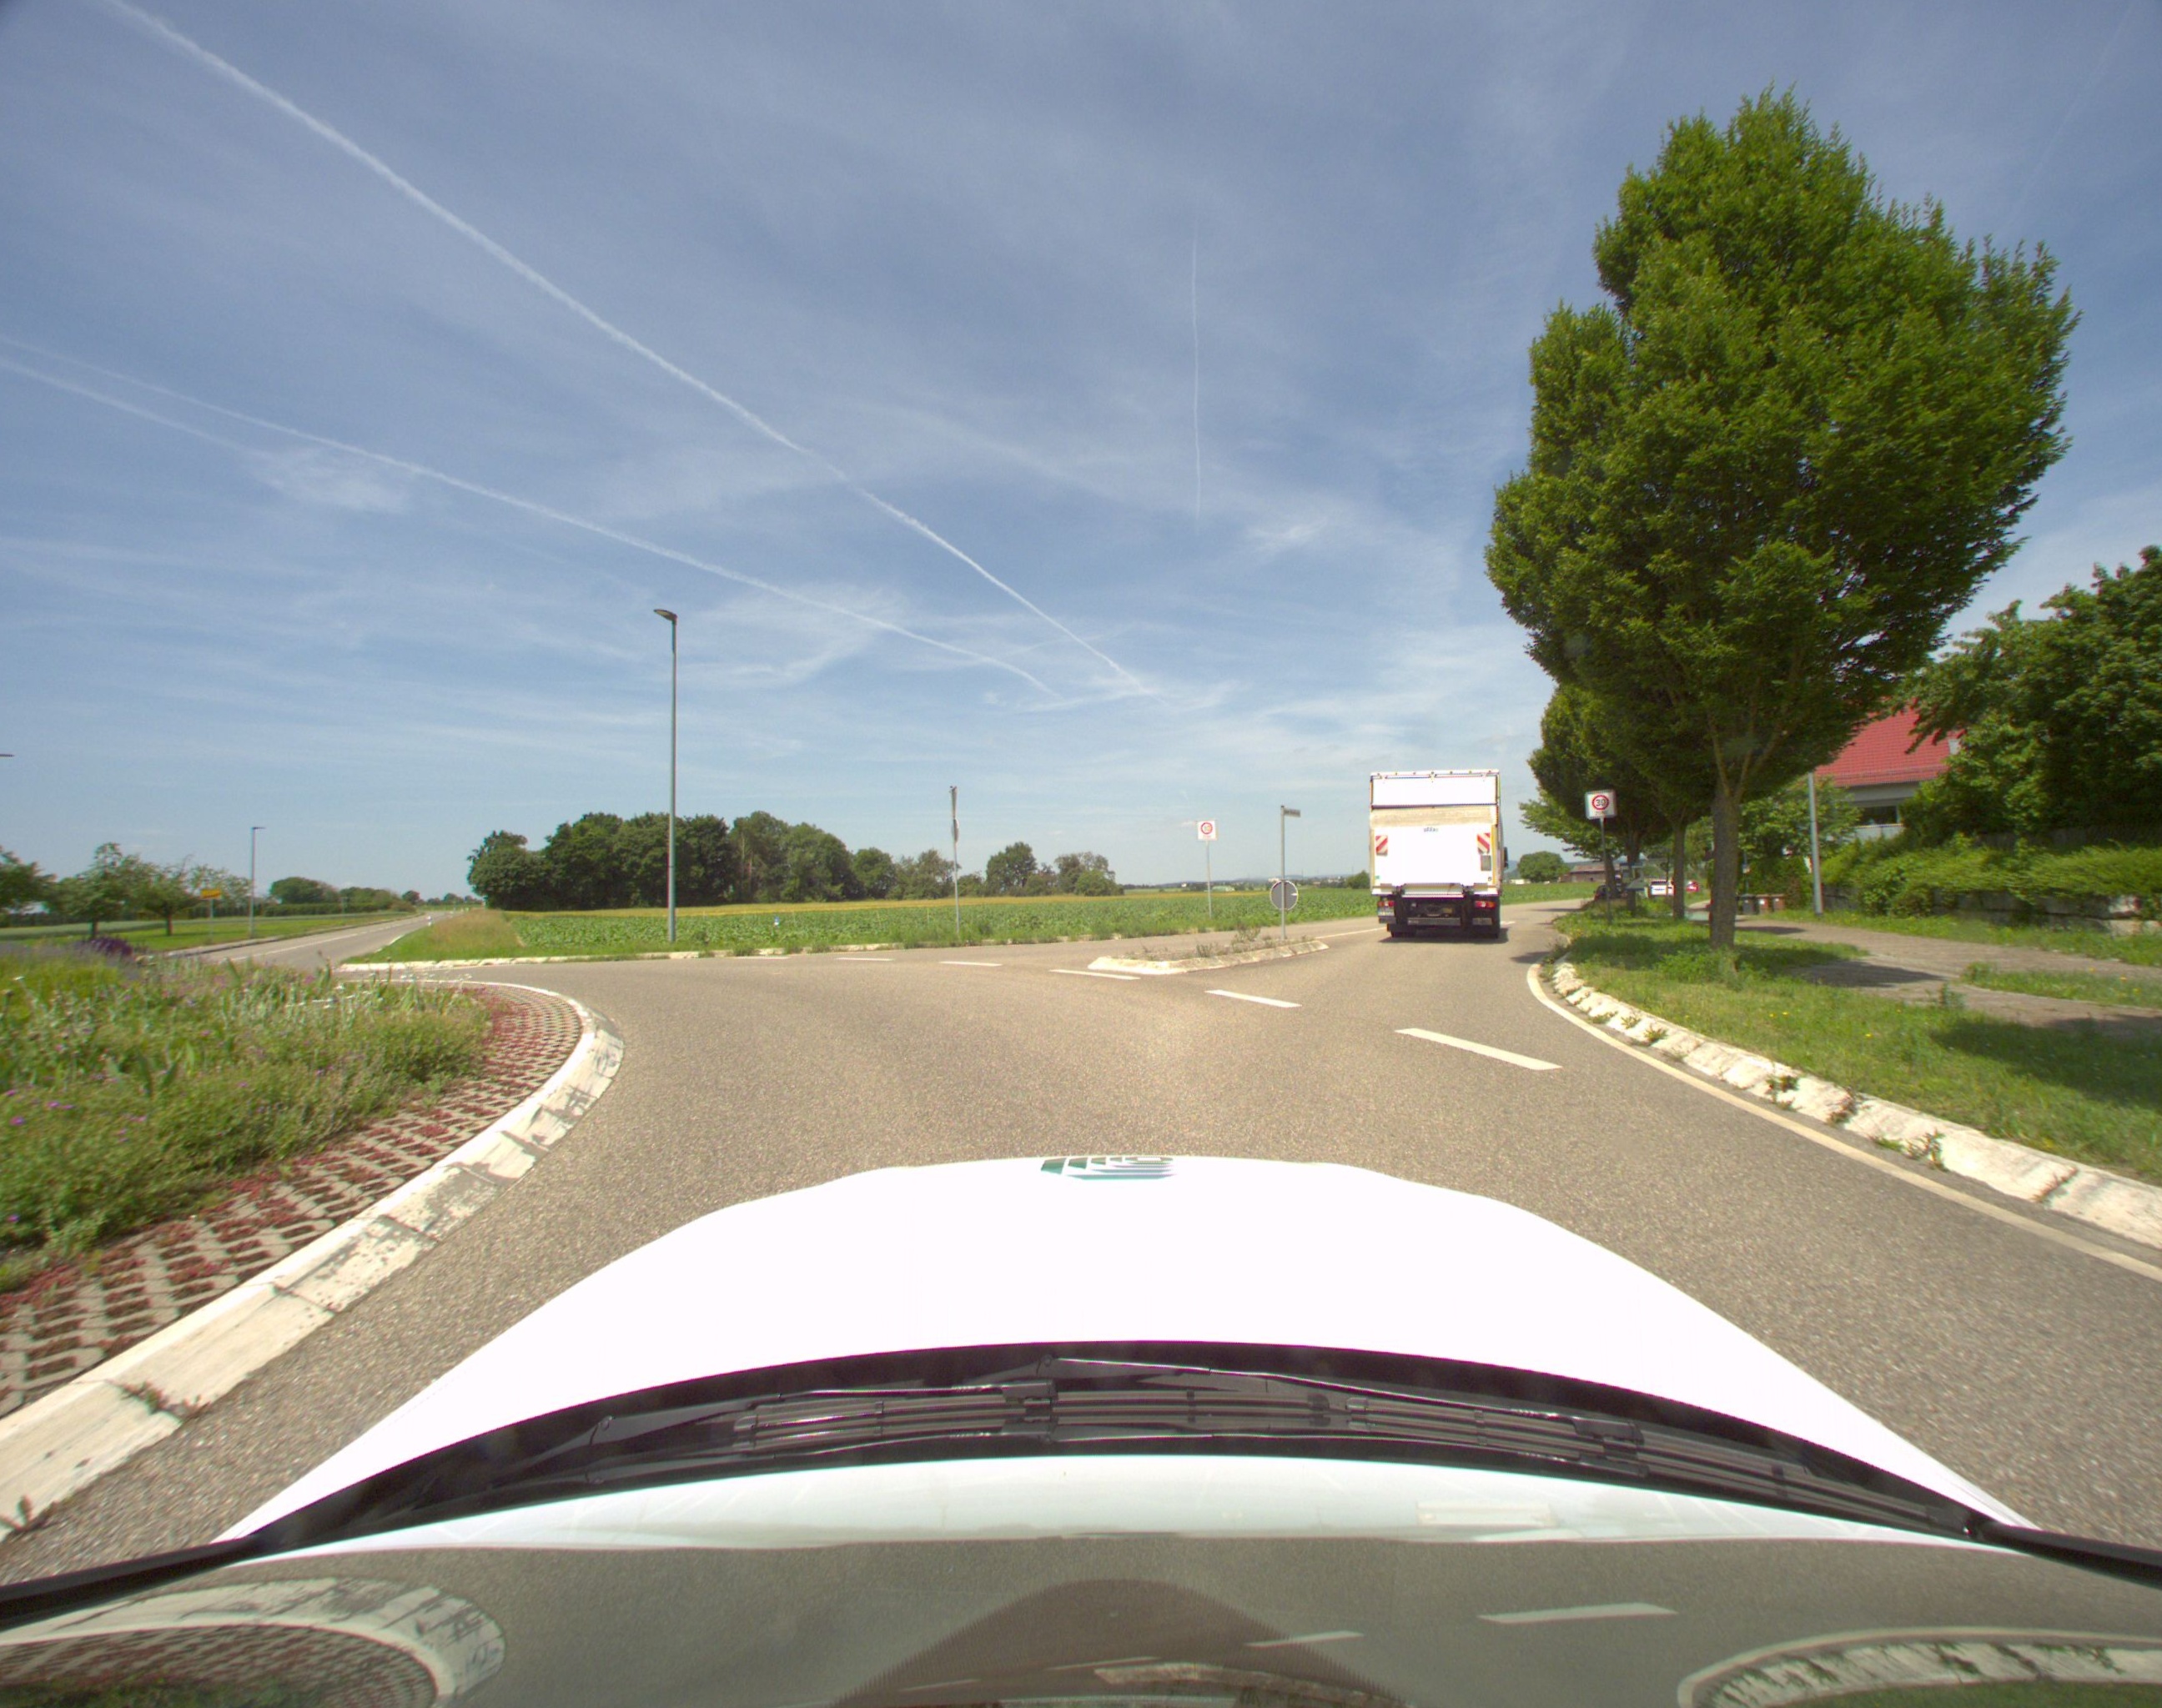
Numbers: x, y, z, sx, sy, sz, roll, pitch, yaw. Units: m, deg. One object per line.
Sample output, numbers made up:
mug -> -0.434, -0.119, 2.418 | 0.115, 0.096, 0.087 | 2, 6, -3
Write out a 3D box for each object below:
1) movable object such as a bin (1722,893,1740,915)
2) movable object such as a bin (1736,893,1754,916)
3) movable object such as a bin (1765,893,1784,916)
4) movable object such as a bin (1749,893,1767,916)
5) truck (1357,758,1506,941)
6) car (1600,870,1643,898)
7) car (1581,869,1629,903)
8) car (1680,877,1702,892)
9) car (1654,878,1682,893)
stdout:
movable object such as a bin -> 28.860, 2.230, 36.164 | 0.501, 0.966, 0.437 | 0, -3, -32
movable object such as a bin -> 29.130, 2.205, 35.743 | 0.501, 0.966, 0.437 | 0, -3, -32
movable object such as a bin -> 29.698, 2.151, 34.882 | 0.501, 0.966, 0.437 | 0, -3, -32
movable object such as a bin -> 29.389, 2.180, 35.335 | 0.501, 0.966, 0.437 | 0, -3, -32
truck -> 9.412, 0.060, 21.136 | 2.741, 3.671, 9.437 | -2, -2, 27
car -> 34.893, 1.953, 52.564 | 1.974, 1.717, 4.025 | -4, -4, 37
car -> 30.456, 1.849, 47.303 | 1.974, 1.794, 4.025 | -5, -5, 36
car -> 55.685, 2.777, 74.311 | 1.270, 1.362, 3.309 | -5, -5, 41
car -> 47.121, 2.491, 65.330 | 1.348, 1.137, 3.226 | -4, -4, 43
